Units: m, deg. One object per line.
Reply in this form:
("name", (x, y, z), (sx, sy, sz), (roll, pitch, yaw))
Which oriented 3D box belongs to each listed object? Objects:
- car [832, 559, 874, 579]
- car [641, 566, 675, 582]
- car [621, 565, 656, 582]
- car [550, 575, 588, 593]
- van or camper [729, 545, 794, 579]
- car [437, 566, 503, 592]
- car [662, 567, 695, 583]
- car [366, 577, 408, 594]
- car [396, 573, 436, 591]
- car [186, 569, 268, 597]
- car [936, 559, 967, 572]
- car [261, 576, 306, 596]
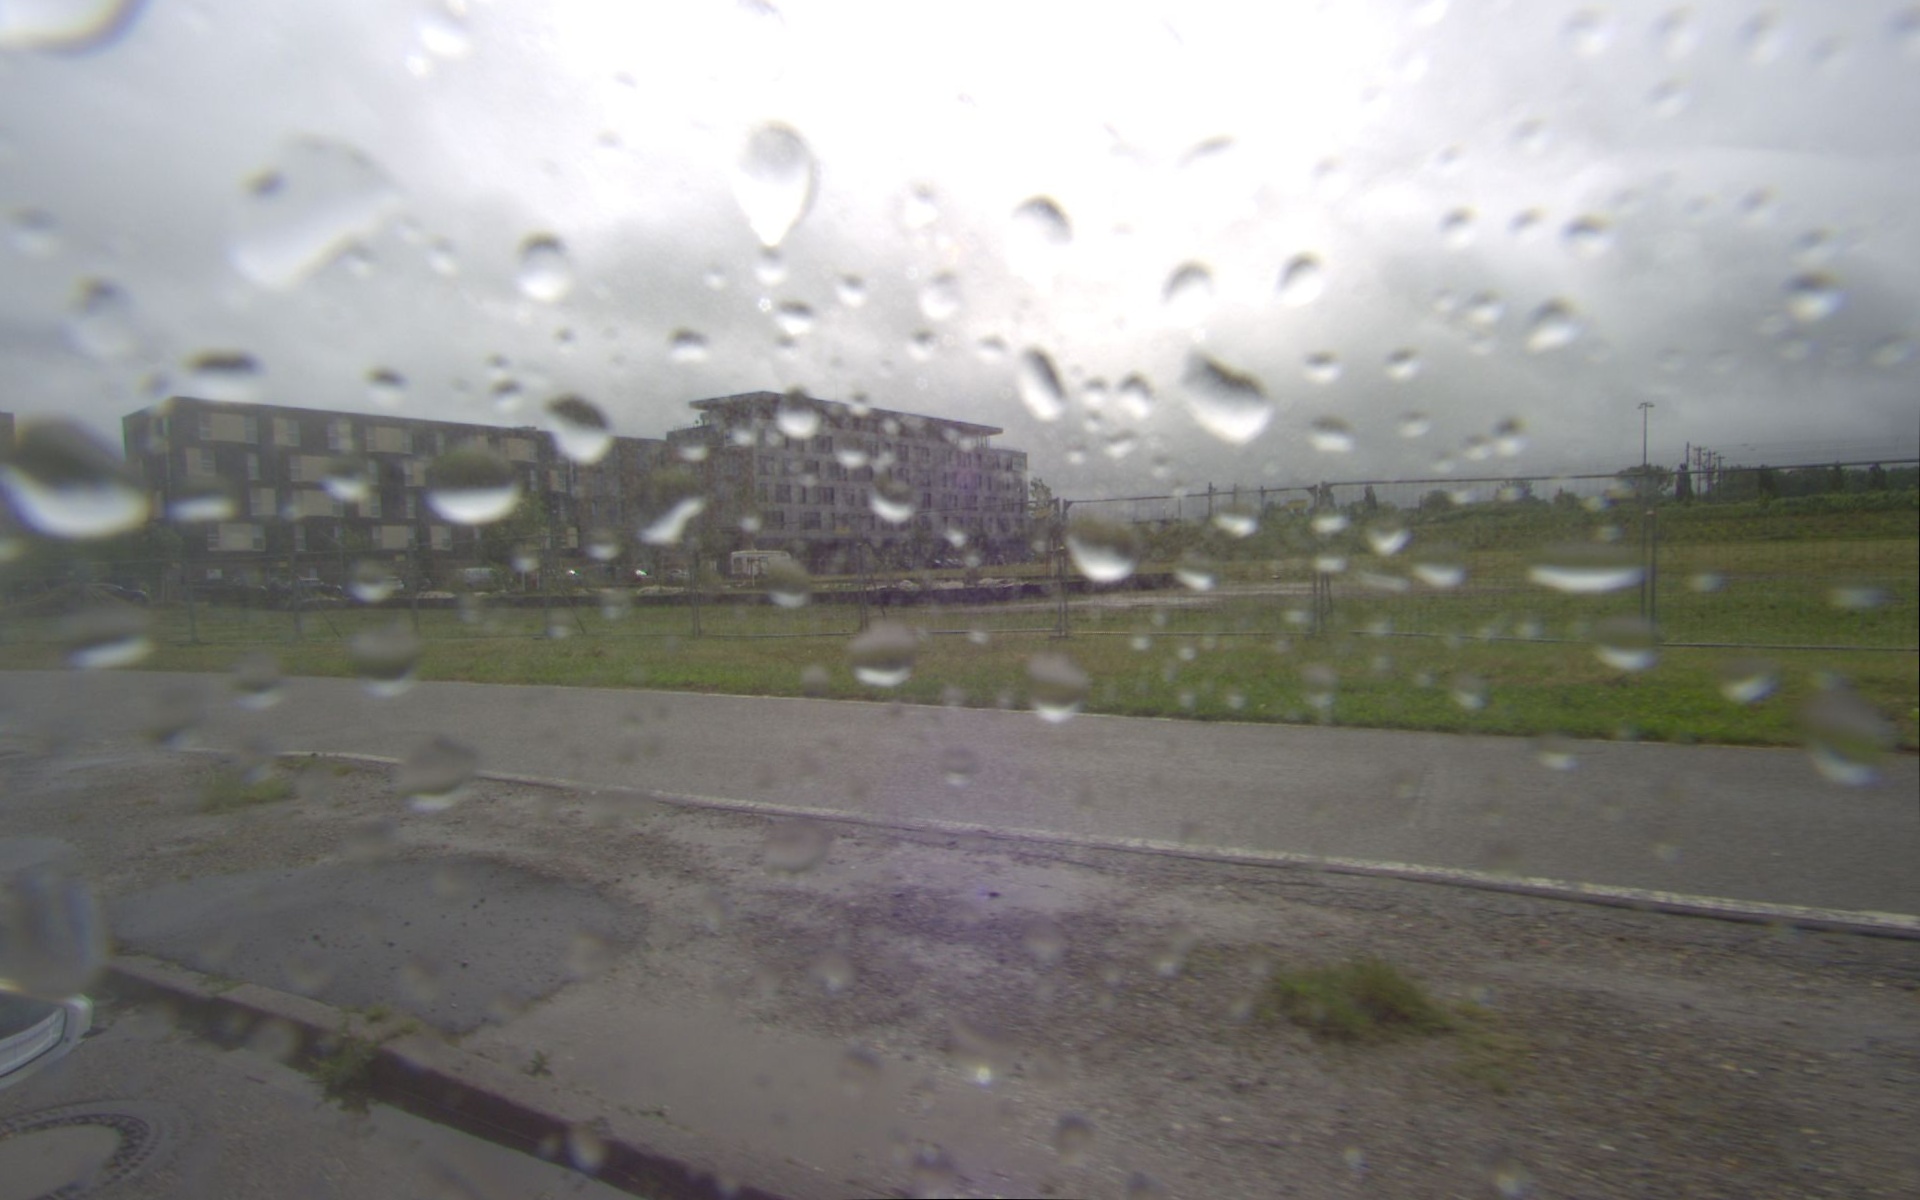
("car", (-12.039, -3.504, 112.941), (1.976, 2.040, 4.774), (1, 0, 40))
("car", (-32.078, -2.745, 106.424), (3.792, 1.637, 1.539), (0, 0, 36))
("car", (-33.493, -2.763, 104.397), (3.792, 1.637, 1.539), (0, 0, 36))
("car", (-38.388, -1.552, 98.340), (3.792, 1.637, 1.774), (0, 0, 36))
("van or camper", (-20.692, -3.877, 104.811), (2.497, 3.244, 6.754), (1, 0, 37))
("car", (-39.291, -1.679, 80.343), (1.975, 1.795, 4.309), (1, -2, 38))
("car", (-30.562, -2.725, 108.647), (3.792, 1.637, 1.539), (0, 0, 36))
("car", (-48.605, -1.211, 84.903), (3.758, 1.414, 1.757), (0, 0, 36))
("car", (-47.213, -1.525, 86.921), (3.733, 1.415, 1.632), (-1, 0, 37))
("car", (-48.929, -1.110, 66.908), (1.972, 1.751, 3.978), (0, 0, 33))
("car", (-1.224, -4.863, 142.735), (4.316, 1.710, 1.786), (0, 0, 40))
("car", (-53.252, -1.079, 78.784), (3.792, 1.548, 1.774), (0, 0, 36))
